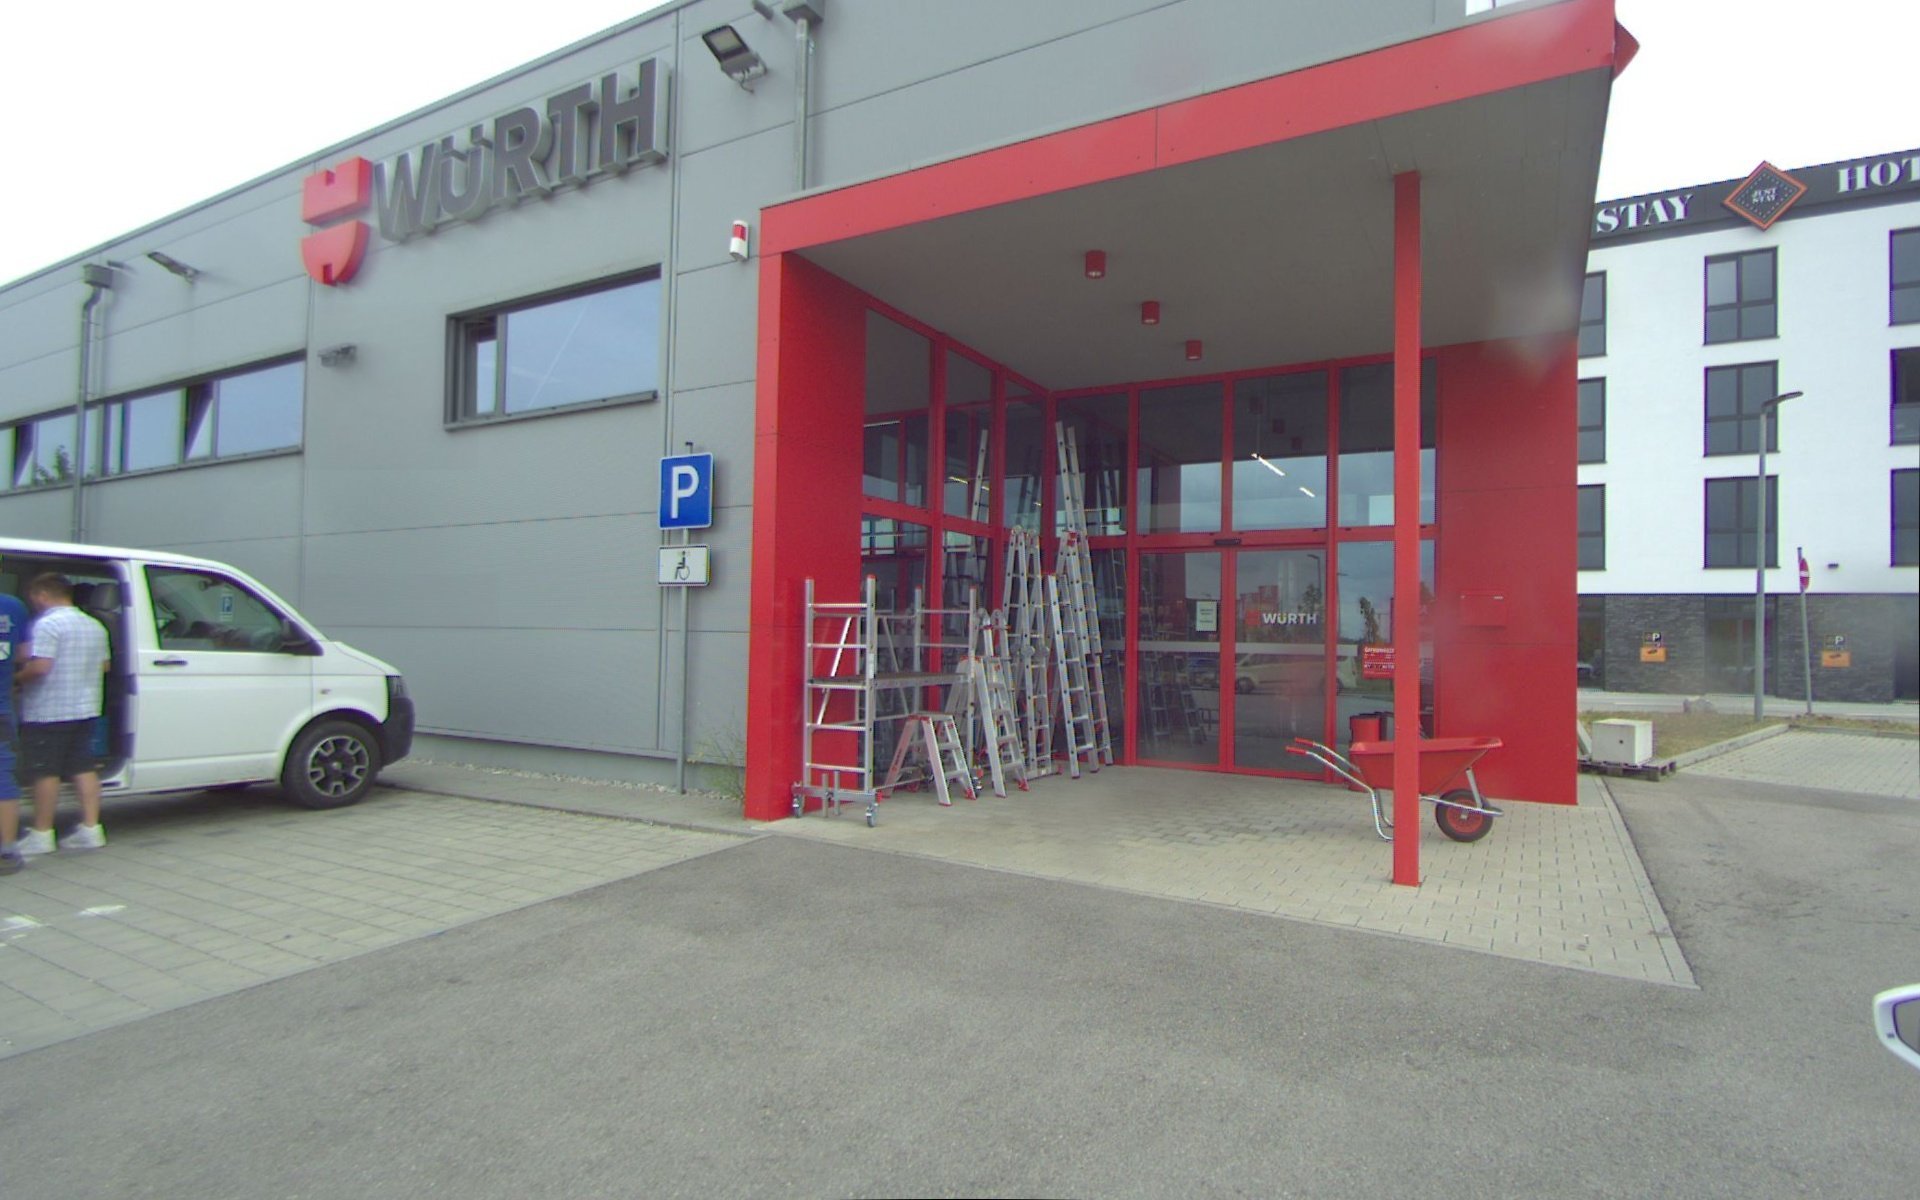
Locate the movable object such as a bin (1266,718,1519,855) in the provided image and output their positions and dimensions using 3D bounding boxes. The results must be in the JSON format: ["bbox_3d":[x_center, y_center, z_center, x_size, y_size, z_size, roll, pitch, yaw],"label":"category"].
[{"bbox_3d":[3.069,1.275,7.144,1.557,0.725,0.802,0,-2,32],"label":"movable object such as a bin"}]

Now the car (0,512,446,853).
[{"bbox_3d":[-6.343,0.501,6.905,1.902,2.040,4.753,1,-1,28],"label":"car"}]

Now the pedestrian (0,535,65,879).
[{"bbox_3d":[-5.520,0.581,5.526,0.577,1.881,0.626,1,-1,13],"label":"pedestrian"}]

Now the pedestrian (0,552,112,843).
[{"bbox_3d":[-5.650,0.585,6.271,0.575,1.724,0.359,0,-2,33],"label":"pedestrian"}]
